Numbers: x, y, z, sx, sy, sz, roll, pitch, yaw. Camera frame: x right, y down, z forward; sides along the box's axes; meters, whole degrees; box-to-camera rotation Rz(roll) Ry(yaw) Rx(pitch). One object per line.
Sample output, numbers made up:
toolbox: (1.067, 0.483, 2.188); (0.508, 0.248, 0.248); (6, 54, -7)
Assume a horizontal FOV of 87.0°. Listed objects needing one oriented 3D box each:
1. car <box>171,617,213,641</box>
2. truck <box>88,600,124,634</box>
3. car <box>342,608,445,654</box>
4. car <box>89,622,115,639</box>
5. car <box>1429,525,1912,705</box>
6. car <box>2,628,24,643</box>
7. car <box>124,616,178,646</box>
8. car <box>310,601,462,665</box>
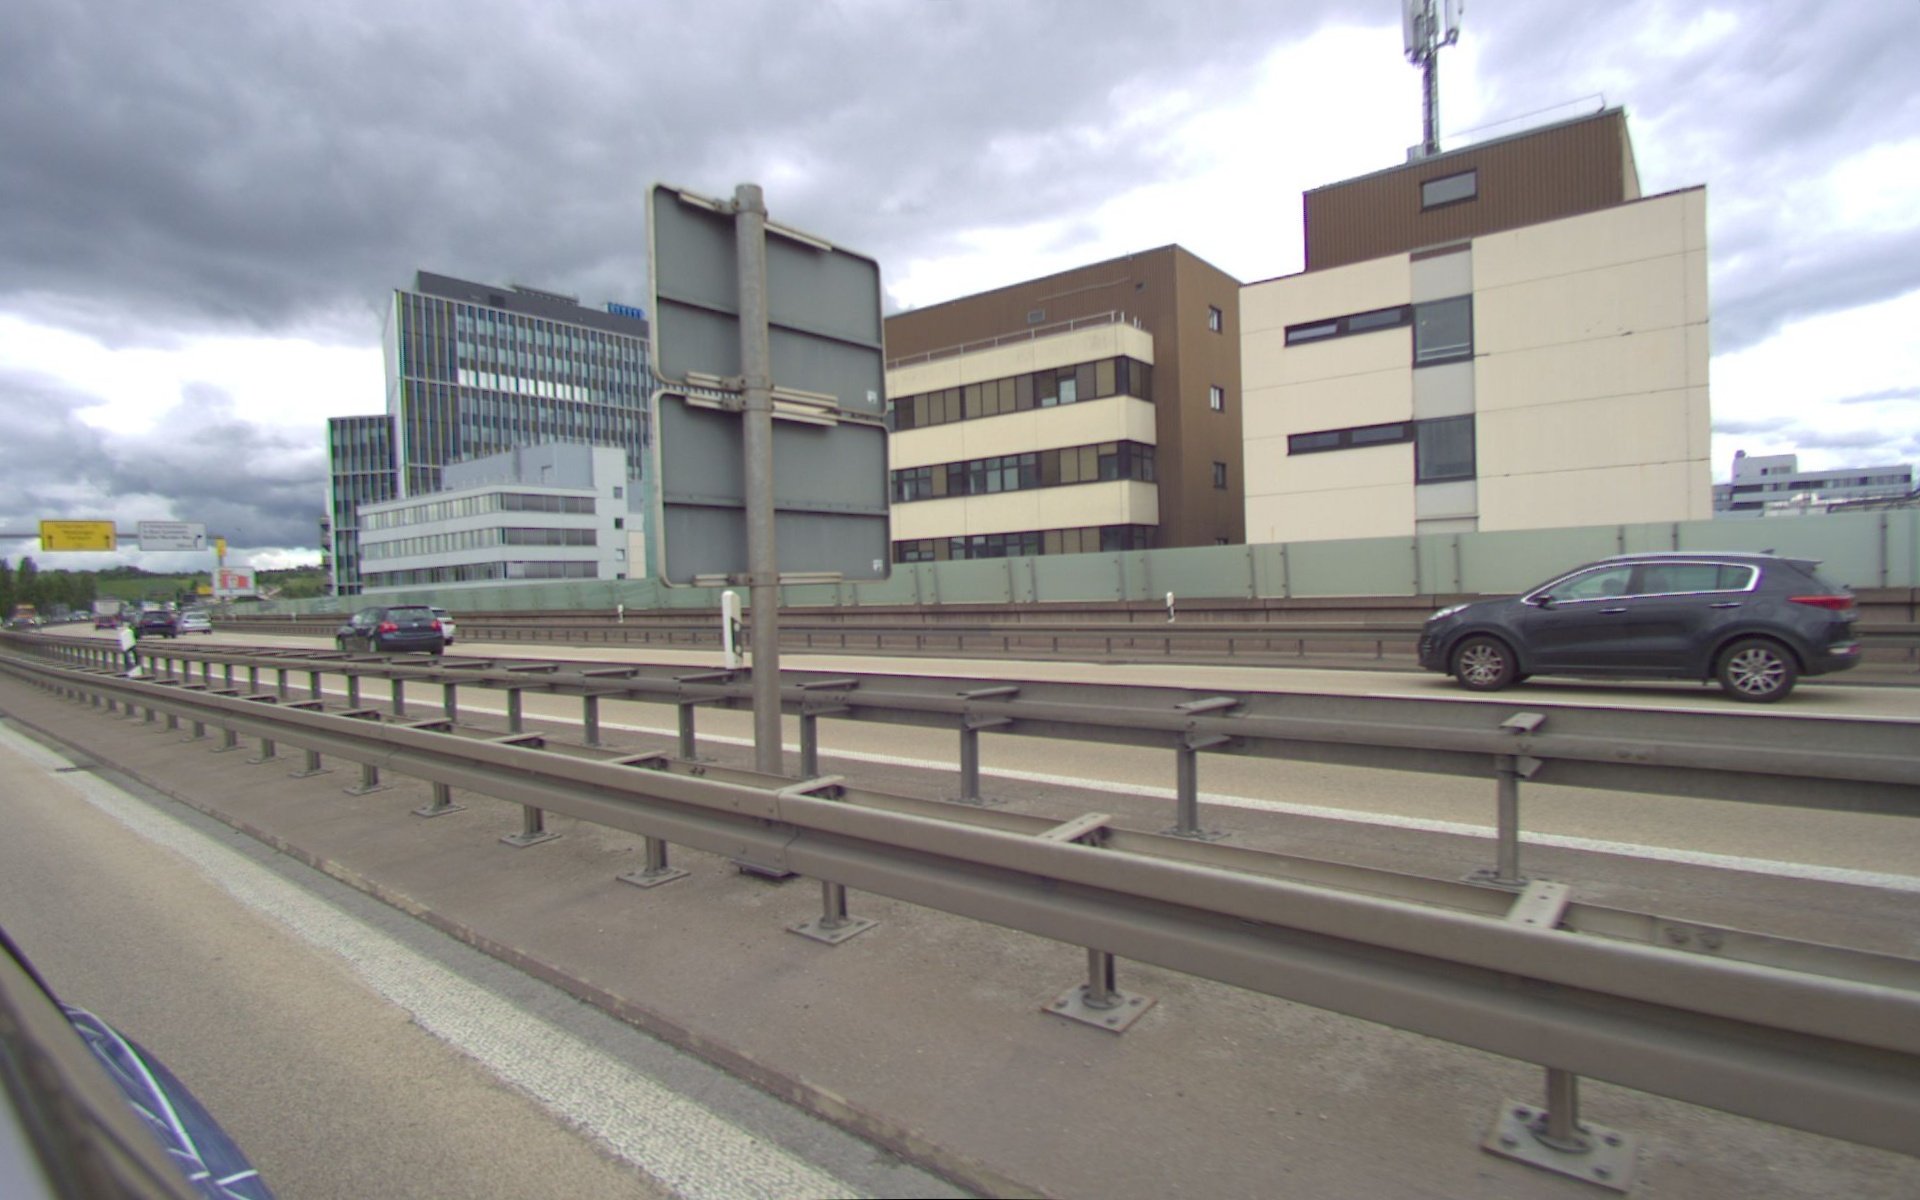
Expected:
car: (-52.100, 1.971, 68.616); (3.685, 1.609, 1.665); (-2, -1, 43)
truck: (-107.471, 2.160, 127.271); (3.221, 3.887, 13.072); (-2, 0, -40)
car: (-21.362, 1.154, 38.083); (4.811, 1.623, 1.898); (-2, -1, 41)
car: (-82.088, 2.921, 96.803); (1.733, 1.494, 4.095); (0, -1, -43)
car: (8.122, 0.194, 11.950); (4.364, 1.761, 1.737); (-2, -1, 39)
car: (-132.622, 4.926, 141.794); (1.968, 2.029, 4.007); (-1, 0, -39)
car: (-46.552, 1.754, 58.188); (4.814, 1.631, 1.735); (-2, -1, 43)
car: (-15.871, 0.897, 27.877); (4.808, 1.623, 2.003); (-2, -1, 39)
